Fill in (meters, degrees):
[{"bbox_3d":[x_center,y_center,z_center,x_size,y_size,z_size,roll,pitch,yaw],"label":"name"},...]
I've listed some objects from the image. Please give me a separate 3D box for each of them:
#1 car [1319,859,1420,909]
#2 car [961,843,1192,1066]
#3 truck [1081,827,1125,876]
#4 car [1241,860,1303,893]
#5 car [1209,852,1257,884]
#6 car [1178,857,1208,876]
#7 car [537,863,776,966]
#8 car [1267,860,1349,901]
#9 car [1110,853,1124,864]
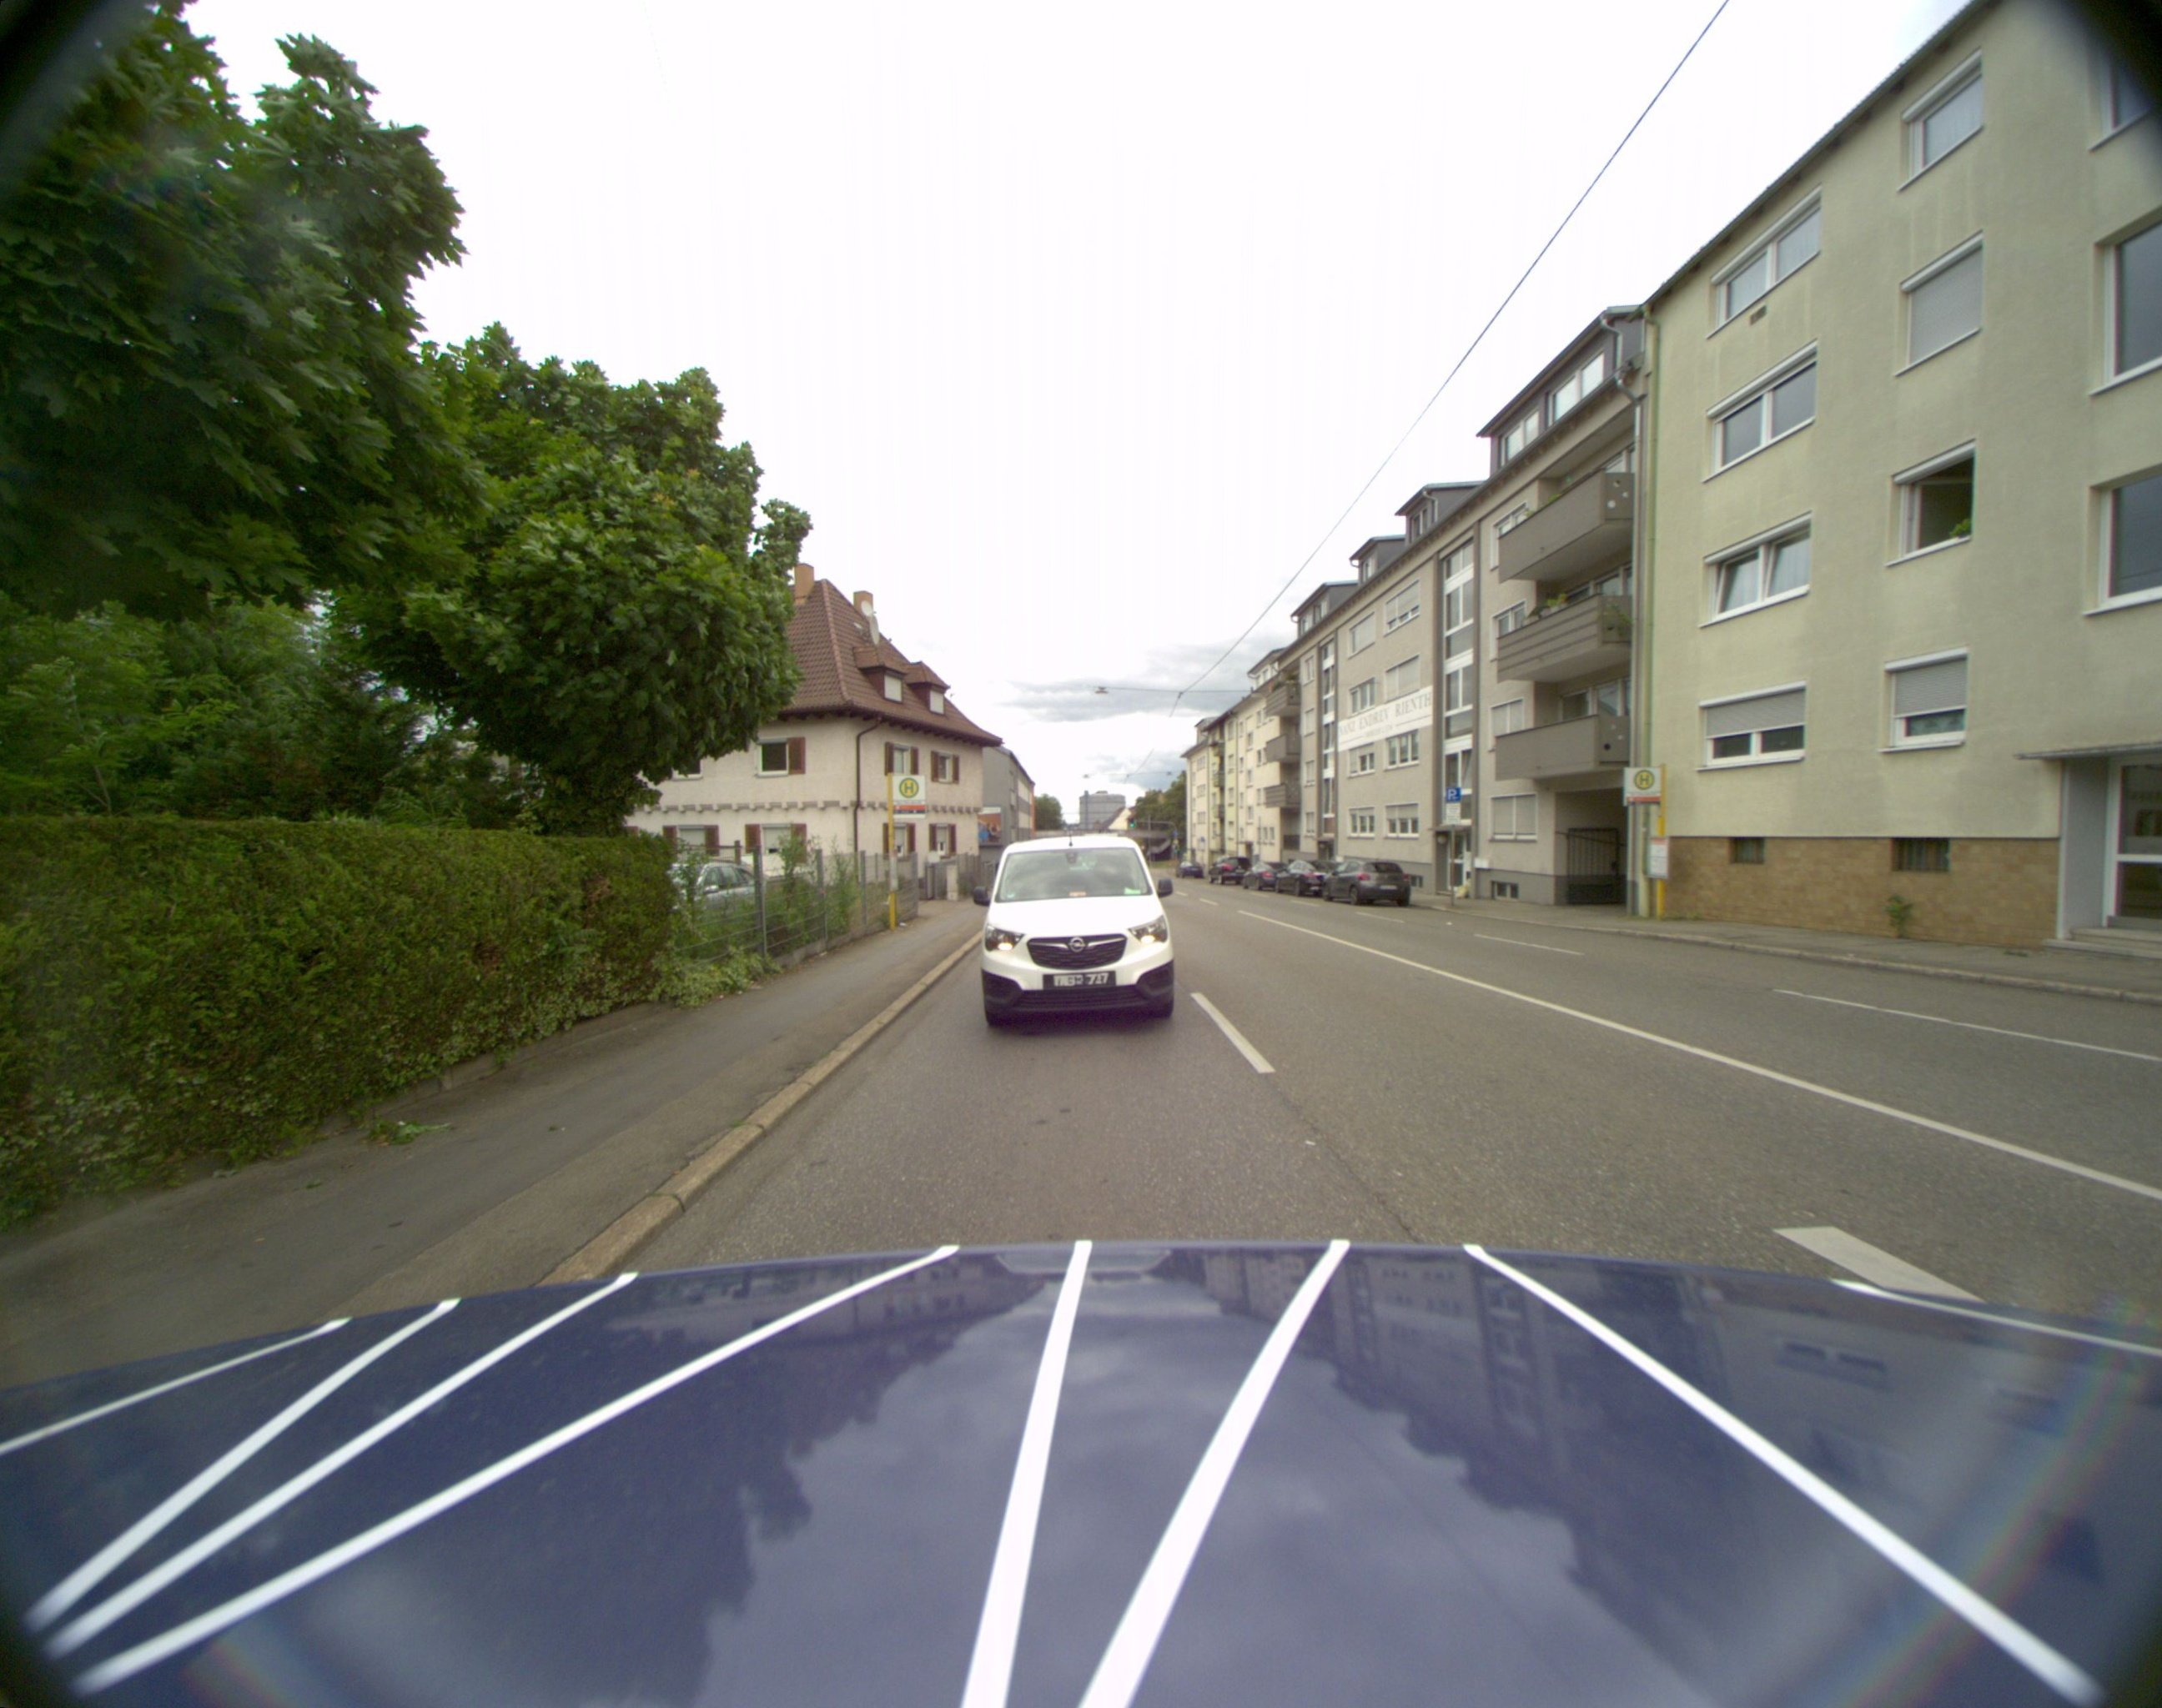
[{"bbox_3d":[9.327,0.922,24.904,1.772,1.428,3.801,1,0,-1],"label":"car"},{"bbox_3d":[-0.069,0.808,8.190,1.803,1.735,3.999,-3,1,-1],"label":"car"},{"bbox_3d":[1.644,-0.172,60.293,2.776,3.554,8.062,-2,0,-3],"label":"truck"},{"bbox_3d":[8.991,1.025,36.110,1.772,1.397,4.307,1,0,-1],"label":"car"},{"bbox_3d":[8.969,0.792,45.292,1.875,1.743,4.307,1,0,-1],"label":"car"},{"bbox_3d":[9.081,1.015,62.038,1.875,1.372,4.307,2,0,1],"label":"car"},{"bbox_3d":[-6.723,0.857,12.648,1.804,1.413,4.263,0,0,-4],"label":"car"},{"bbox_3d":[8.983,0.996,30.475,1.772,1.397,4.717,1,0,-1],"label":"car"},{"bbox_3d":[5.330,0.632,112.862,1.875,1.569,4.307,2,0,1],"label":"car"}]
